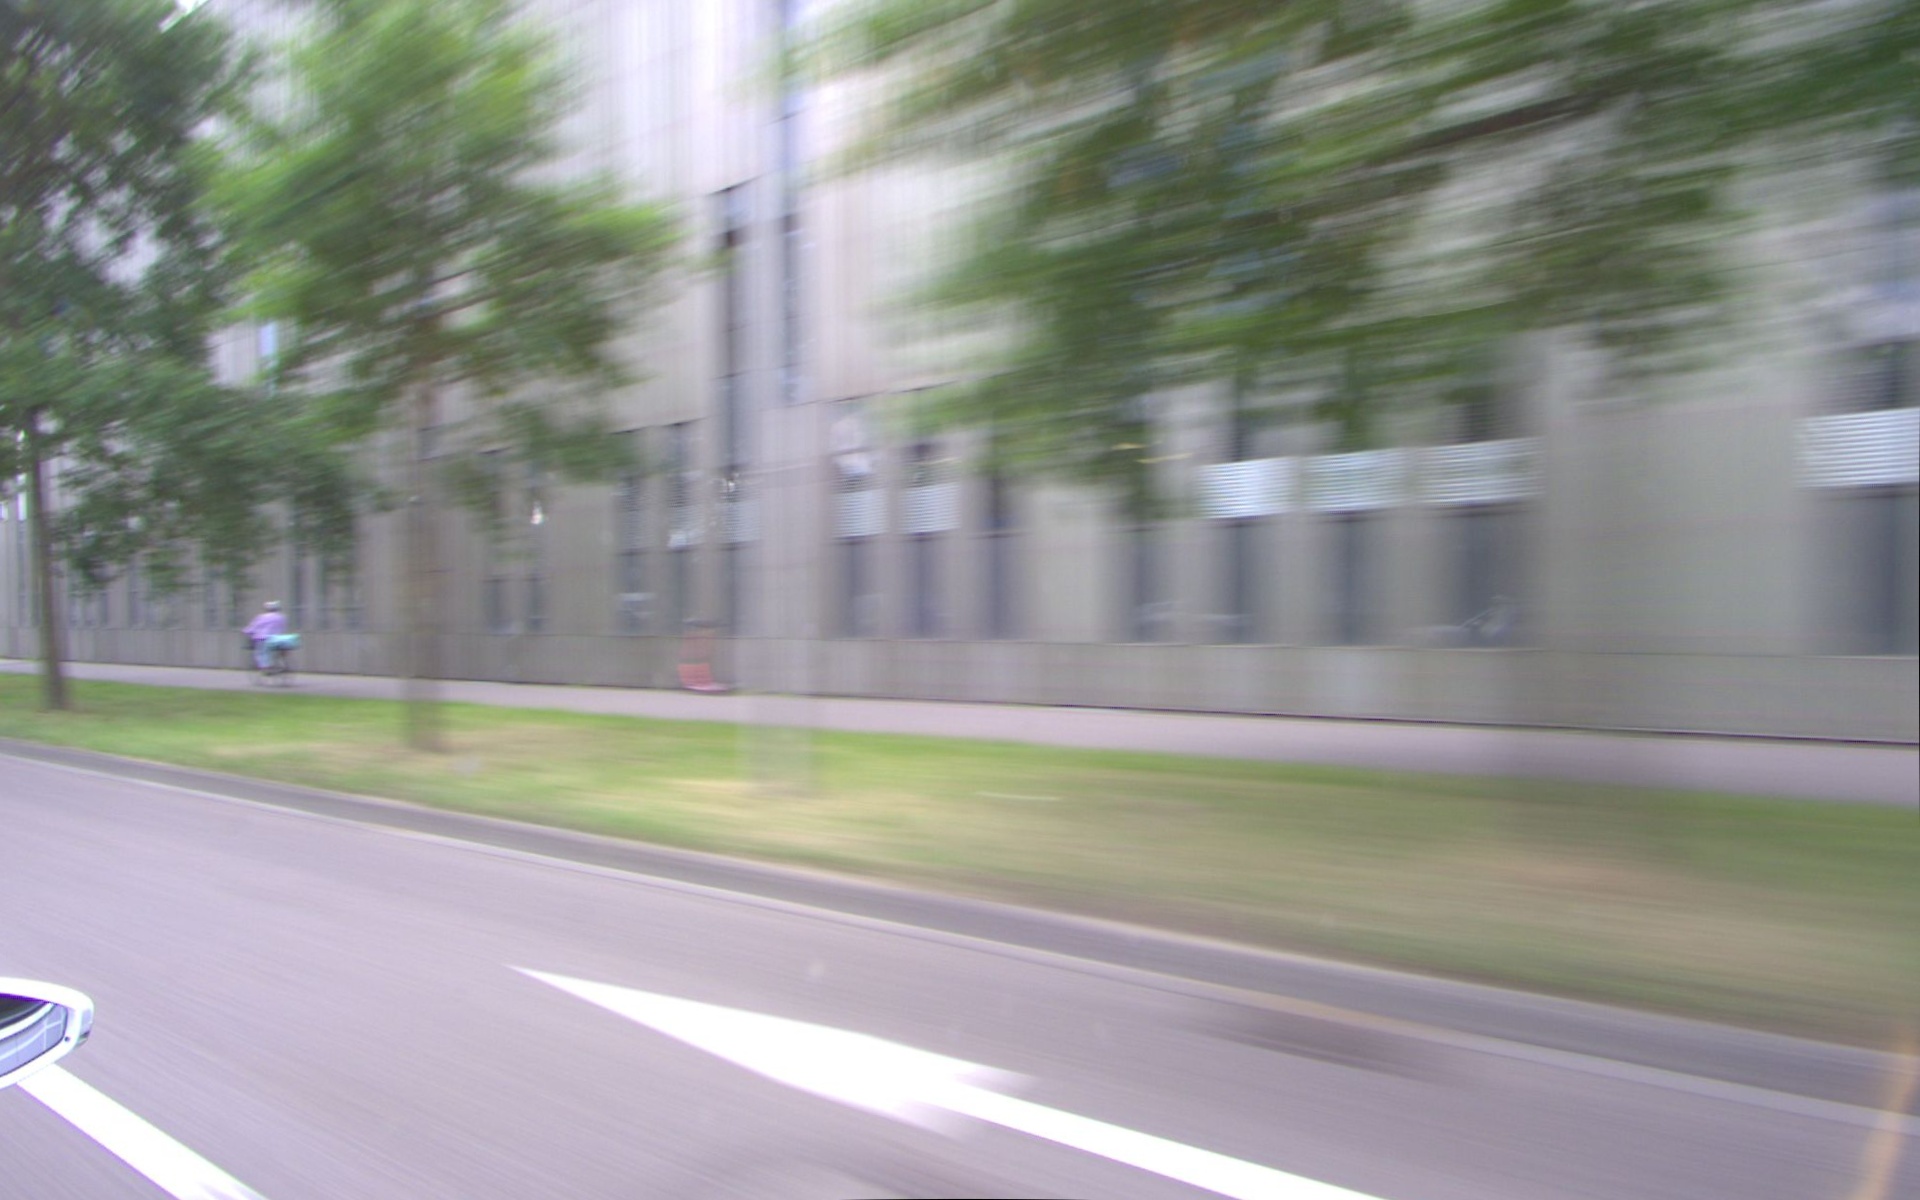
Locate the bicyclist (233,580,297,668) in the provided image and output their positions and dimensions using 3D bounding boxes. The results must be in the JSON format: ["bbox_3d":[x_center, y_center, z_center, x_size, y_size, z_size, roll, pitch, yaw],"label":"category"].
[{"bbox_3d":[-14.431,0.488,20.807,0.973,1.792,0.714,0,0,28],"label":"bicyclist"}]

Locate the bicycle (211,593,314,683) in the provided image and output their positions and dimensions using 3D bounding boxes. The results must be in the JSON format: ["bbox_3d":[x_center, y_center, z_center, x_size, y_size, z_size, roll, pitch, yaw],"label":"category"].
[{"bbox_3d":[-14.556,0.765,20.881,2.494,1.797,0.719,0,0,29],"label":"bicycle"}]

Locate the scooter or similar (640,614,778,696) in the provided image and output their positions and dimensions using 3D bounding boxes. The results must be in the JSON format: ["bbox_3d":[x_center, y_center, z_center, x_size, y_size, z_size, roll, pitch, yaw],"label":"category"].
[{"bbox_3d":[-4.157,0.875,16.480,2.444,1.263,0.703,-1,1,33],"label":"scooter or similar"}]
